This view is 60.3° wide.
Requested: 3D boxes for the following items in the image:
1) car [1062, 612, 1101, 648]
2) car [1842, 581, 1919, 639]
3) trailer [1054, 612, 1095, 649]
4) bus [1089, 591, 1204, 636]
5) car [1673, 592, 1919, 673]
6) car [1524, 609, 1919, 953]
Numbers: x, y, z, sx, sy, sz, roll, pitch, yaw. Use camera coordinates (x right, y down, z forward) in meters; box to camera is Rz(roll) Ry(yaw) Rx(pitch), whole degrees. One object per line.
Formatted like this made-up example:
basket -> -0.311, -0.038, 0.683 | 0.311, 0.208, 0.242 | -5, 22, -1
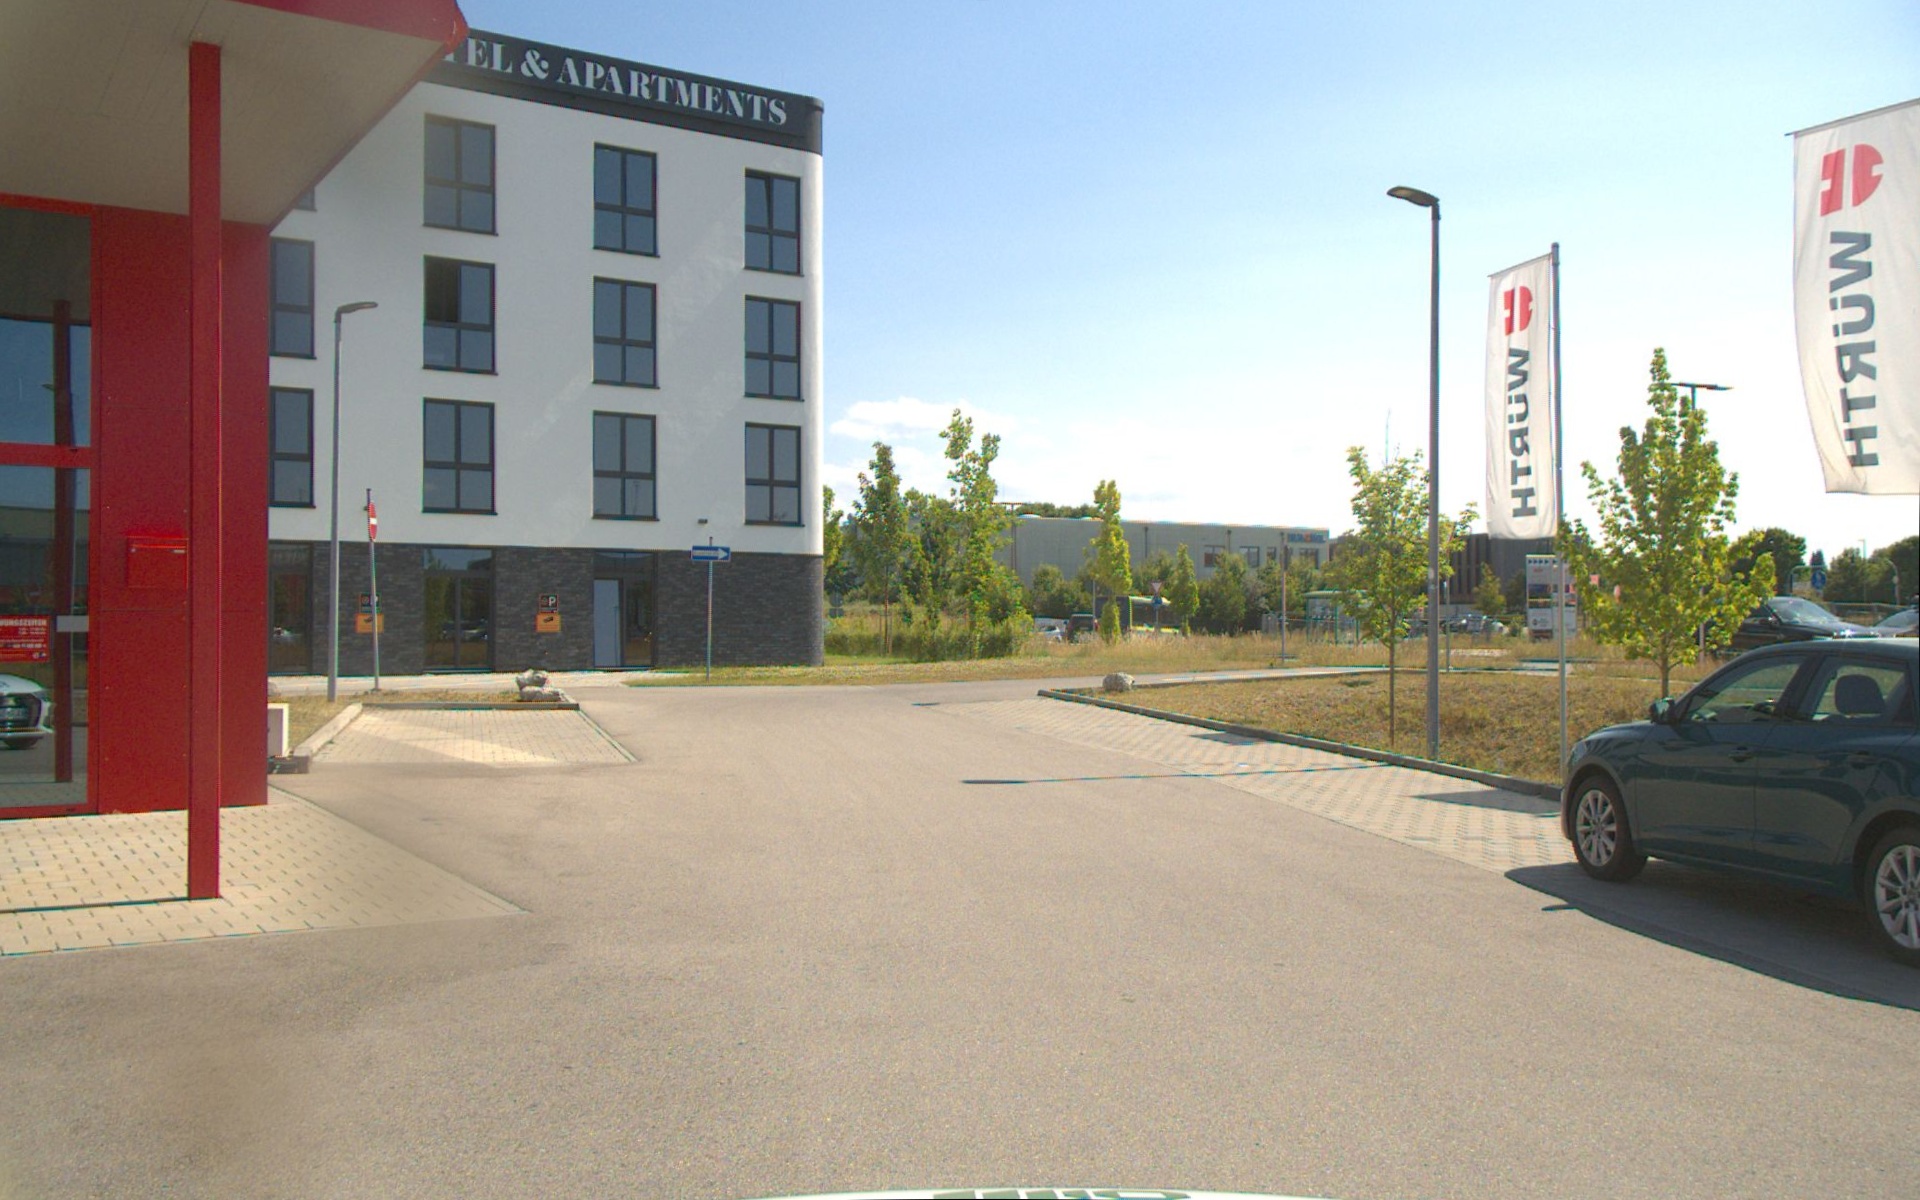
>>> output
car -> 6.618, 1.596, 89.888 | 1.783, 1.892, 4.003 | 1, -1, 8
car -> 25.961, 0.286, 45.535 | 1.965, 1.543, 4.169 | 0, -1, 43
trailer -> 5.978, 1.559, 85.944 | 1.783, 1.892, 4.003 | 1, -1, 8
bus -> 12.294, 0.857, 107.617 | 2.526, 2.783, 11.534 | 0, 0, 33
car -> 17.466, 0.648, 34.794 | 1.910, 1.578, 4.736 | 1, 0, -18
car -> 4.847, 0.795, 8.727 | 1.806, 1.475, 4.218 | 0, 0, -9
